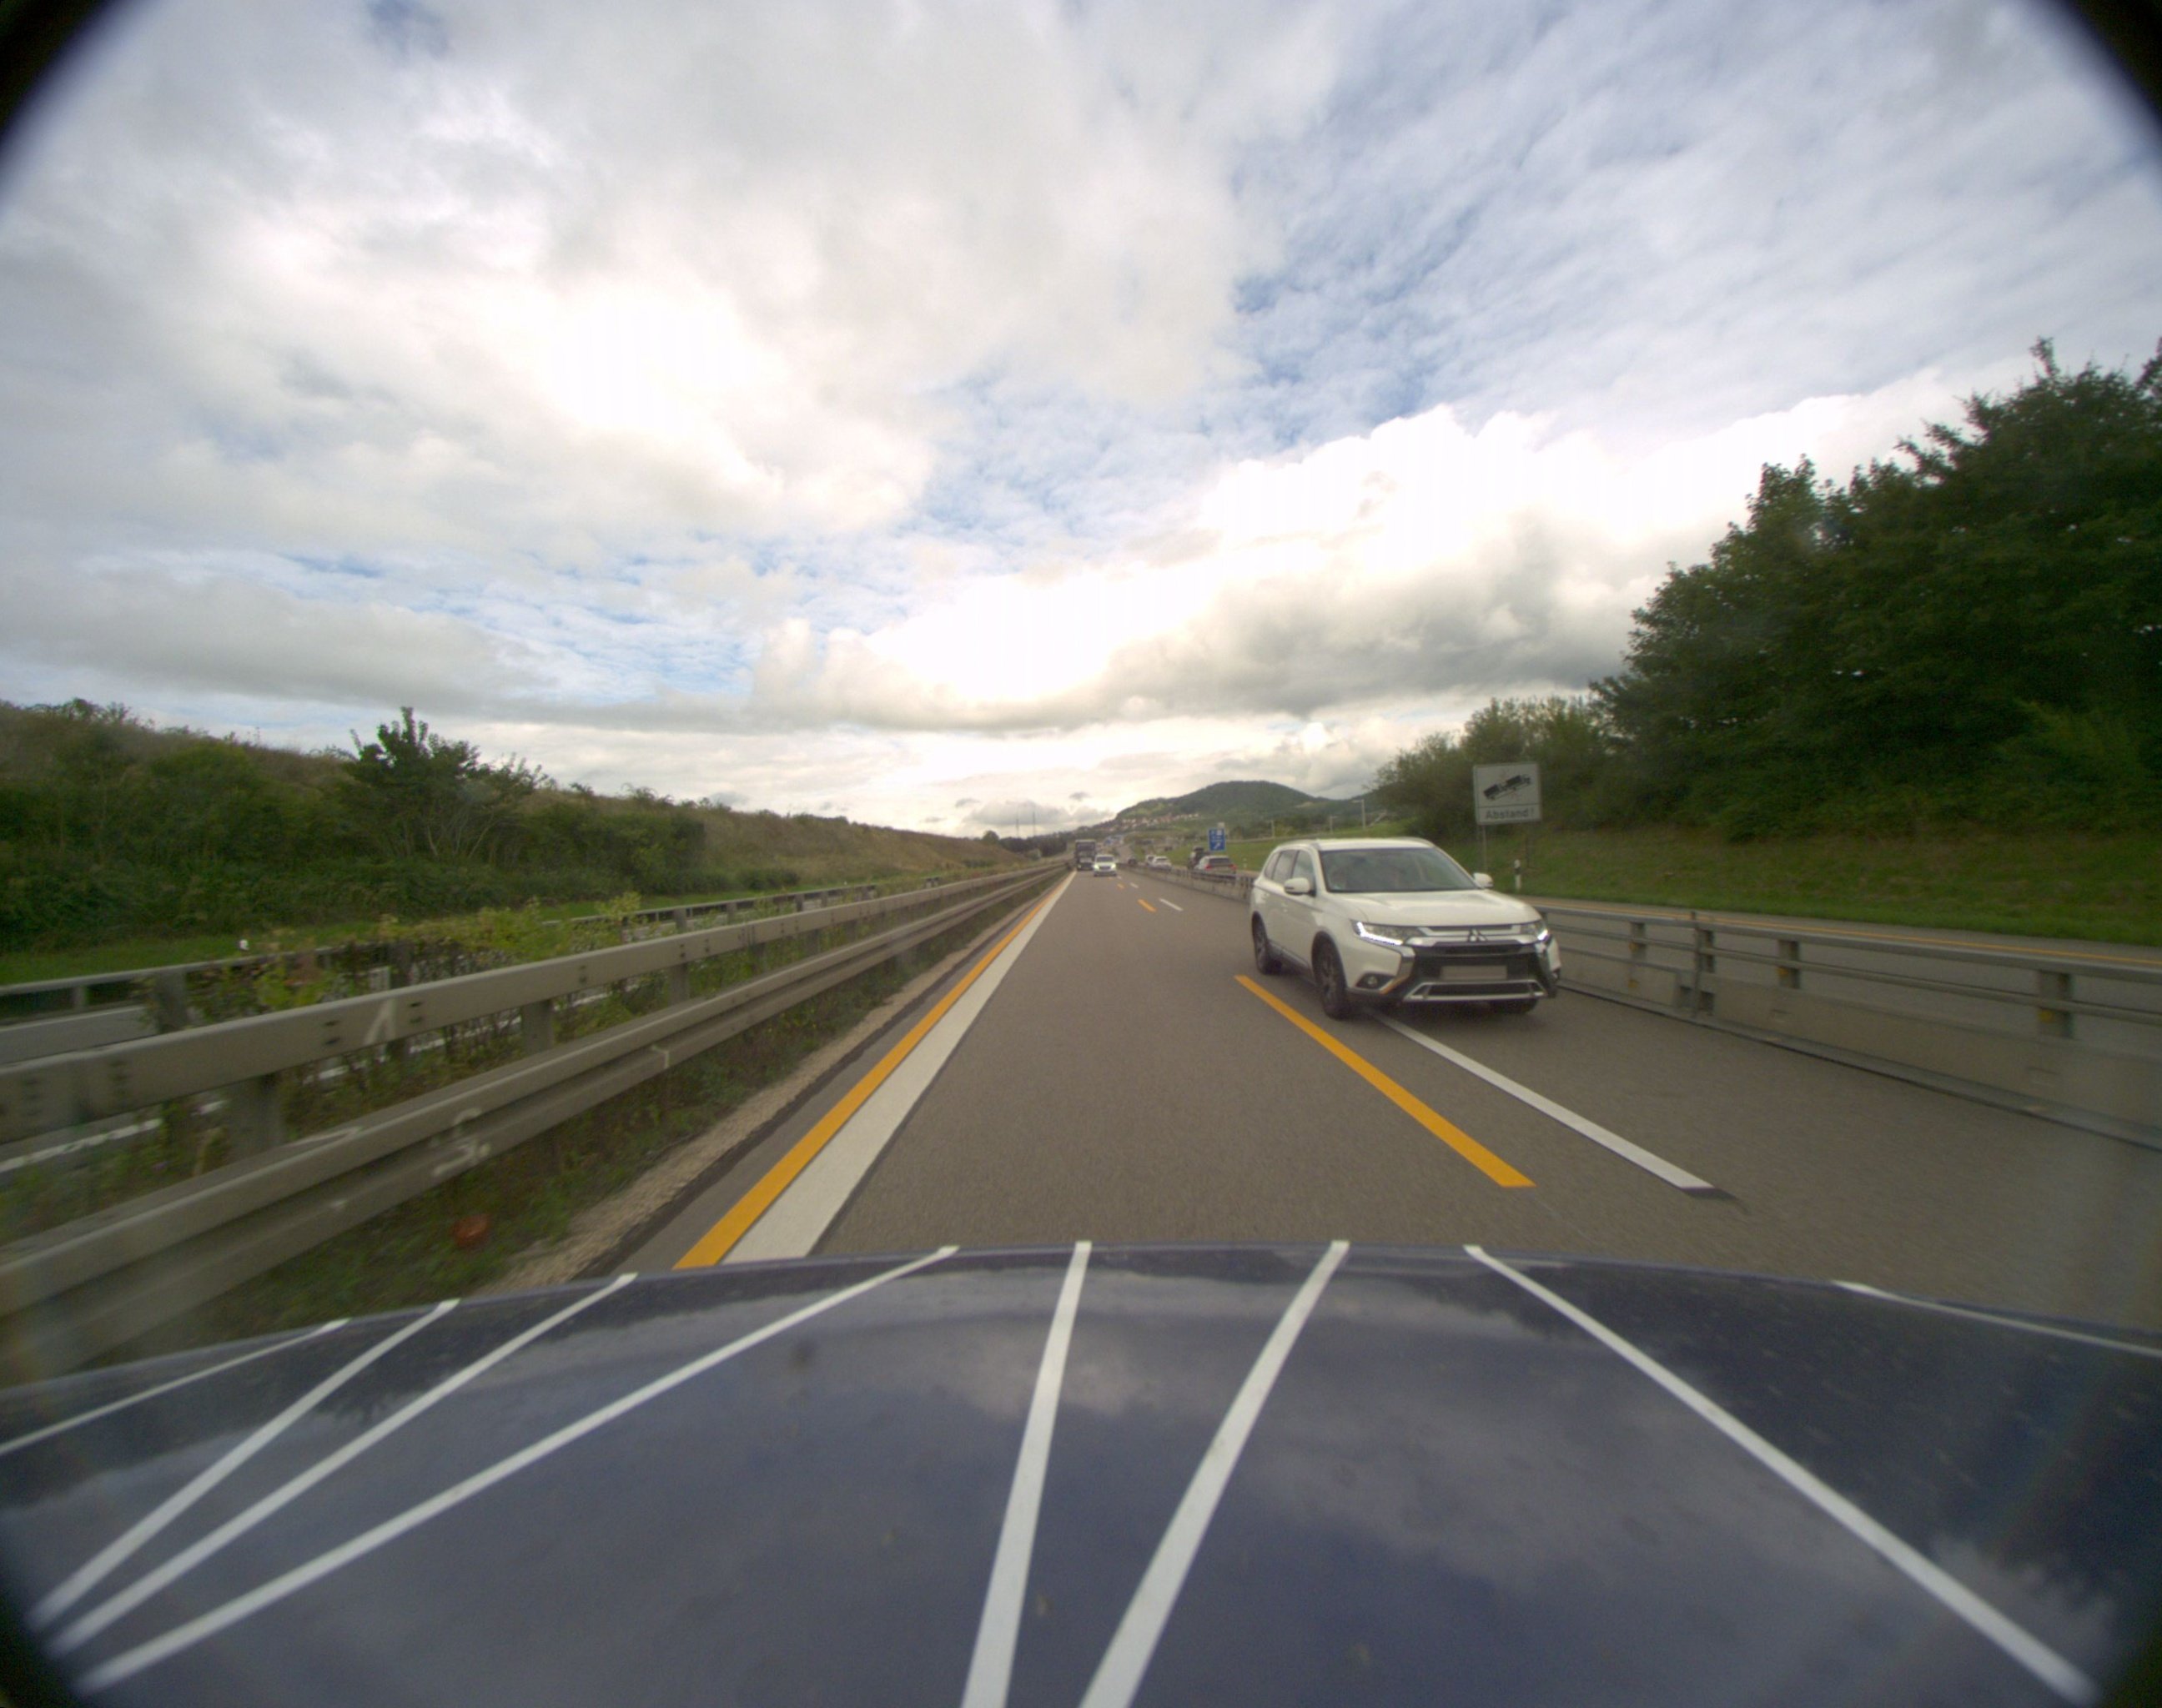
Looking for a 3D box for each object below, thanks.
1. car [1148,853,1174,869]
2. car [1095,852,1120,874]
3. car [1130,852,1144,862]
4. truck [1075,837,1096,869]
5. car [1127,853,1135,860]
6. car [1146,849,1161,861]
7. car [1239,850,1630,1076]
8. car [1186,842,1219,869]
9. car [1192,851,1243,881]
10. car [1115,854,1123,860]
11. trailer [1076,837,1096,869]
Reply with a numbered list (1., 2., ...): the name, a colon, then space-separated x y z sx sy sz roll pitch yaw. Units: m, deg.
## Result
1. car: 7.831 0.652 74.719 1.998 1.512 4.669 -2 0 0
2. car: 2.249 0.745 65.953 1.991 1.787 4.586 -2 0 1
3. car: 8.823 0.484 120.562 1.941 1.460 4.589 -2 0 1
4. truck: 0.662 -0.160 100.200 2.521 4.081 5.685 -2 0 1
5. car: 11.673 0.568 177.459 1.761 1.380 4.001 -2 0 3
6. car: 11.733 0.188 123.087 1.999 1.781 4.933 -2 0 0
7. car: 3.080 0.807 7.910 1.998 1.618 4.607 -2 0 2
8. car: 10.948 0.132 68.818 1.999 2.239 5.049 -2 0 -1
9. car: 7.645 0.636 43.124 1.998 1.512 4.953 -2 0 0
10. car: 8.842 0.697 176.224 1.761 1.380 4.327 -3 0 2
11. trailer: 0.760 -0.188 105.160 2.521 4.081 11.113 -2 0 1
